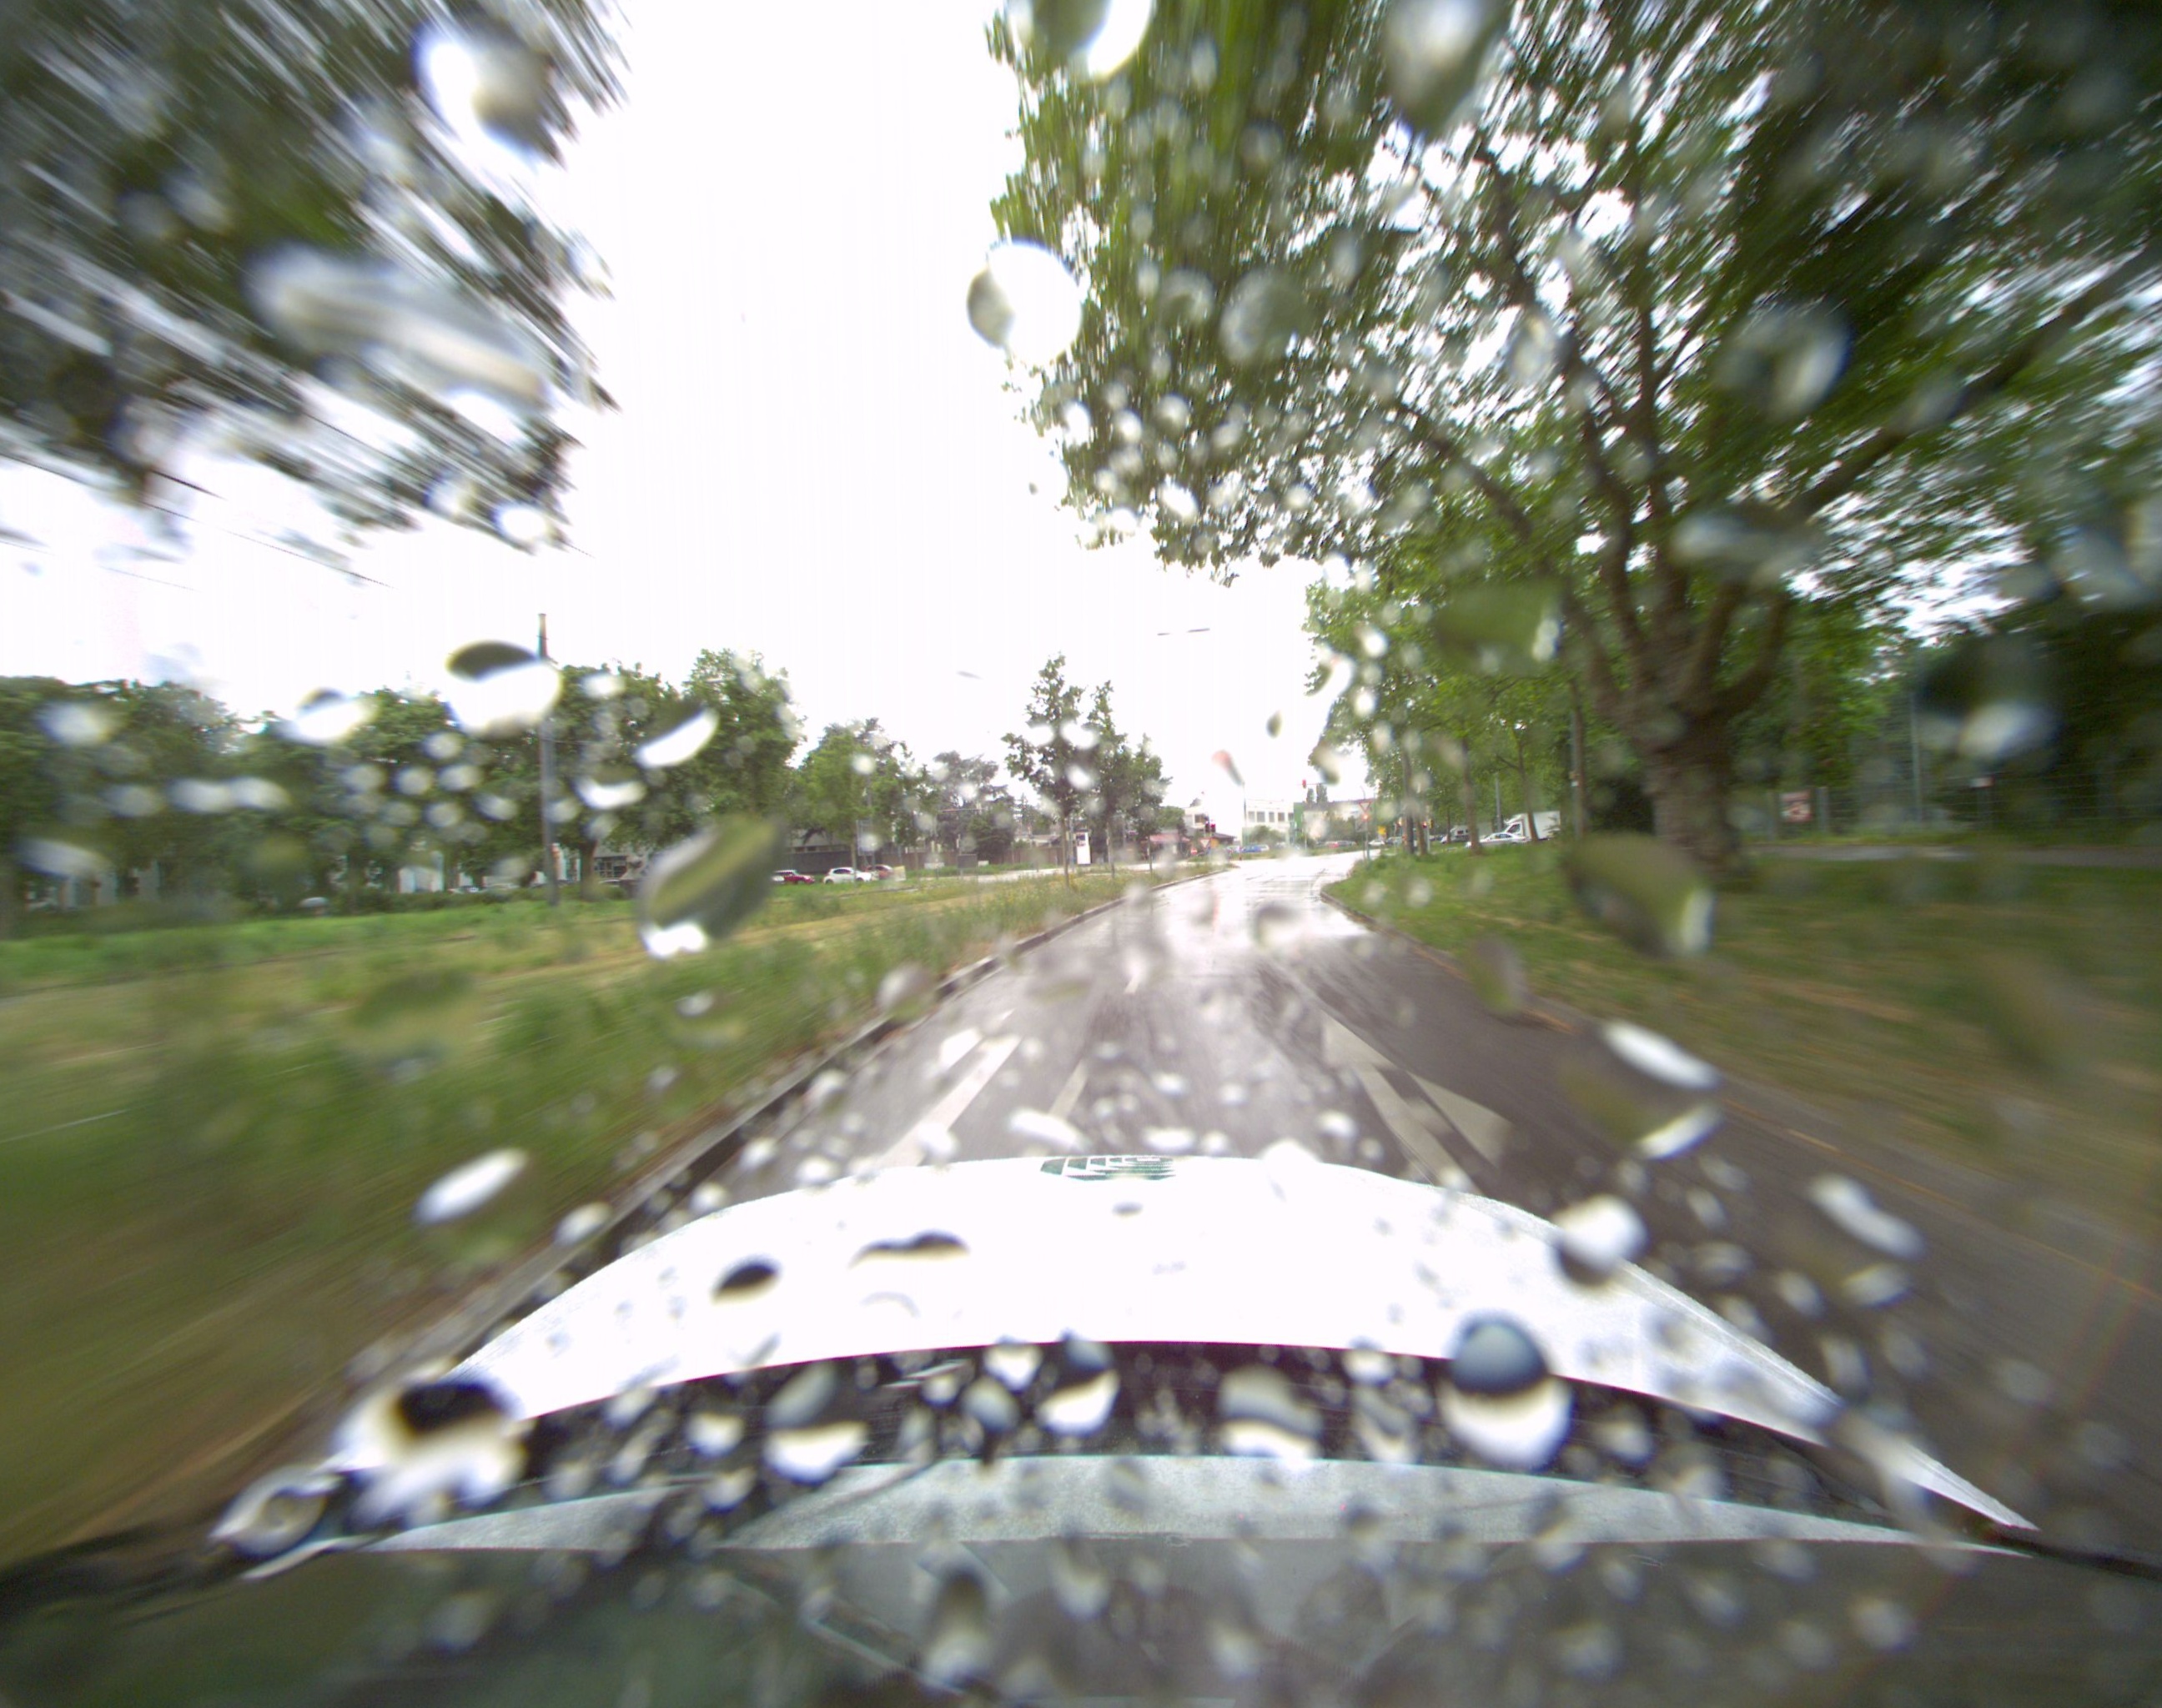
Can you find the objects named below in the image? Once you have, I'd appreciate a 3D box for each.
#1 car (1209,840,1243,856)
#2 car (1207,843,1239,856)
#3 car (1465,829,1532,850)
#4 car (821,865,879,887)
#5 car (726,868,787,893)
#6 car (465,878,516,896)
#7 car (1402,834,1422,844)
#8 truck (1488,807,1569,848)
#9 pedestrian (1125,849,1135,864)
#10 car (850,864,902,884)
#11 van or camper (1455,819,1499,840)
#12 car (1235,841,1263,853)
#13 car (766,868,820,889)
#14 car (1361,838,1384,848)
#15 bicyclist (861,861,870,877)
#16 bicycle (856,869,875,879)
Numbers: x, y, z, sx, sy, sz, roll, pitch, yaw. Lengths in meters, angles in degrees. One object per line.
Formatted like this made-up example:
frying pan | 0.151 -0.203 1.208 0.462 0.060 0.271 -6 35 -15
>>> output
car | 19.478 -0.825 109.395 4.097 1.860 1.683 -4 -1 24
car | 18.462 -0.637 106.066 3.718 1.442 1.772 -4 0 20
car | 33.309 -1.144 65.049 4.479 1.390 1.651 -3 0 14
car | -18.646 1.767 65.800 4.045 1.499 1.655 -4 -1 5
car | -26.595 2.160 66.744 4.193 1.796 1.653 -3 1 2
car | -58.670 3.258 80.955 3.970 1.420 1.539 -3 0 3
car | 75.245 -3.390 185.265 4.097 1.860 1.683 -4 -1 24
truck | 36.959 -2.142 67.345 5.429 3.058 1.989 -3 0 14
pedestrian | 5.866 0.307 97.065 0.805 1.763 0.901 -3 0 -27
car | -17.467 1.688 69.448 3.799 1.499 1.655 -4 -1 5
van or camper | 55.205 -3.370 113.485 5.169 2.697 2.258 -1 1 36
car | 23.439 -0.928 113.361 3.726 1.442 1.768 -4 0 11
car | -24.726 2.091 69.954 3.892 1.498 1.653 -3 1 2
car | 57.964 -2.193 162.131 4.106 1.860 1.679 -4 -1 13
bicyclist | -24.060 1.685 90.904 0.679 1.683 0.644 -4 -1 13
bicycle | -24.084 2.215 90.914 1.945 0.966 0.644 -4 -1 13
